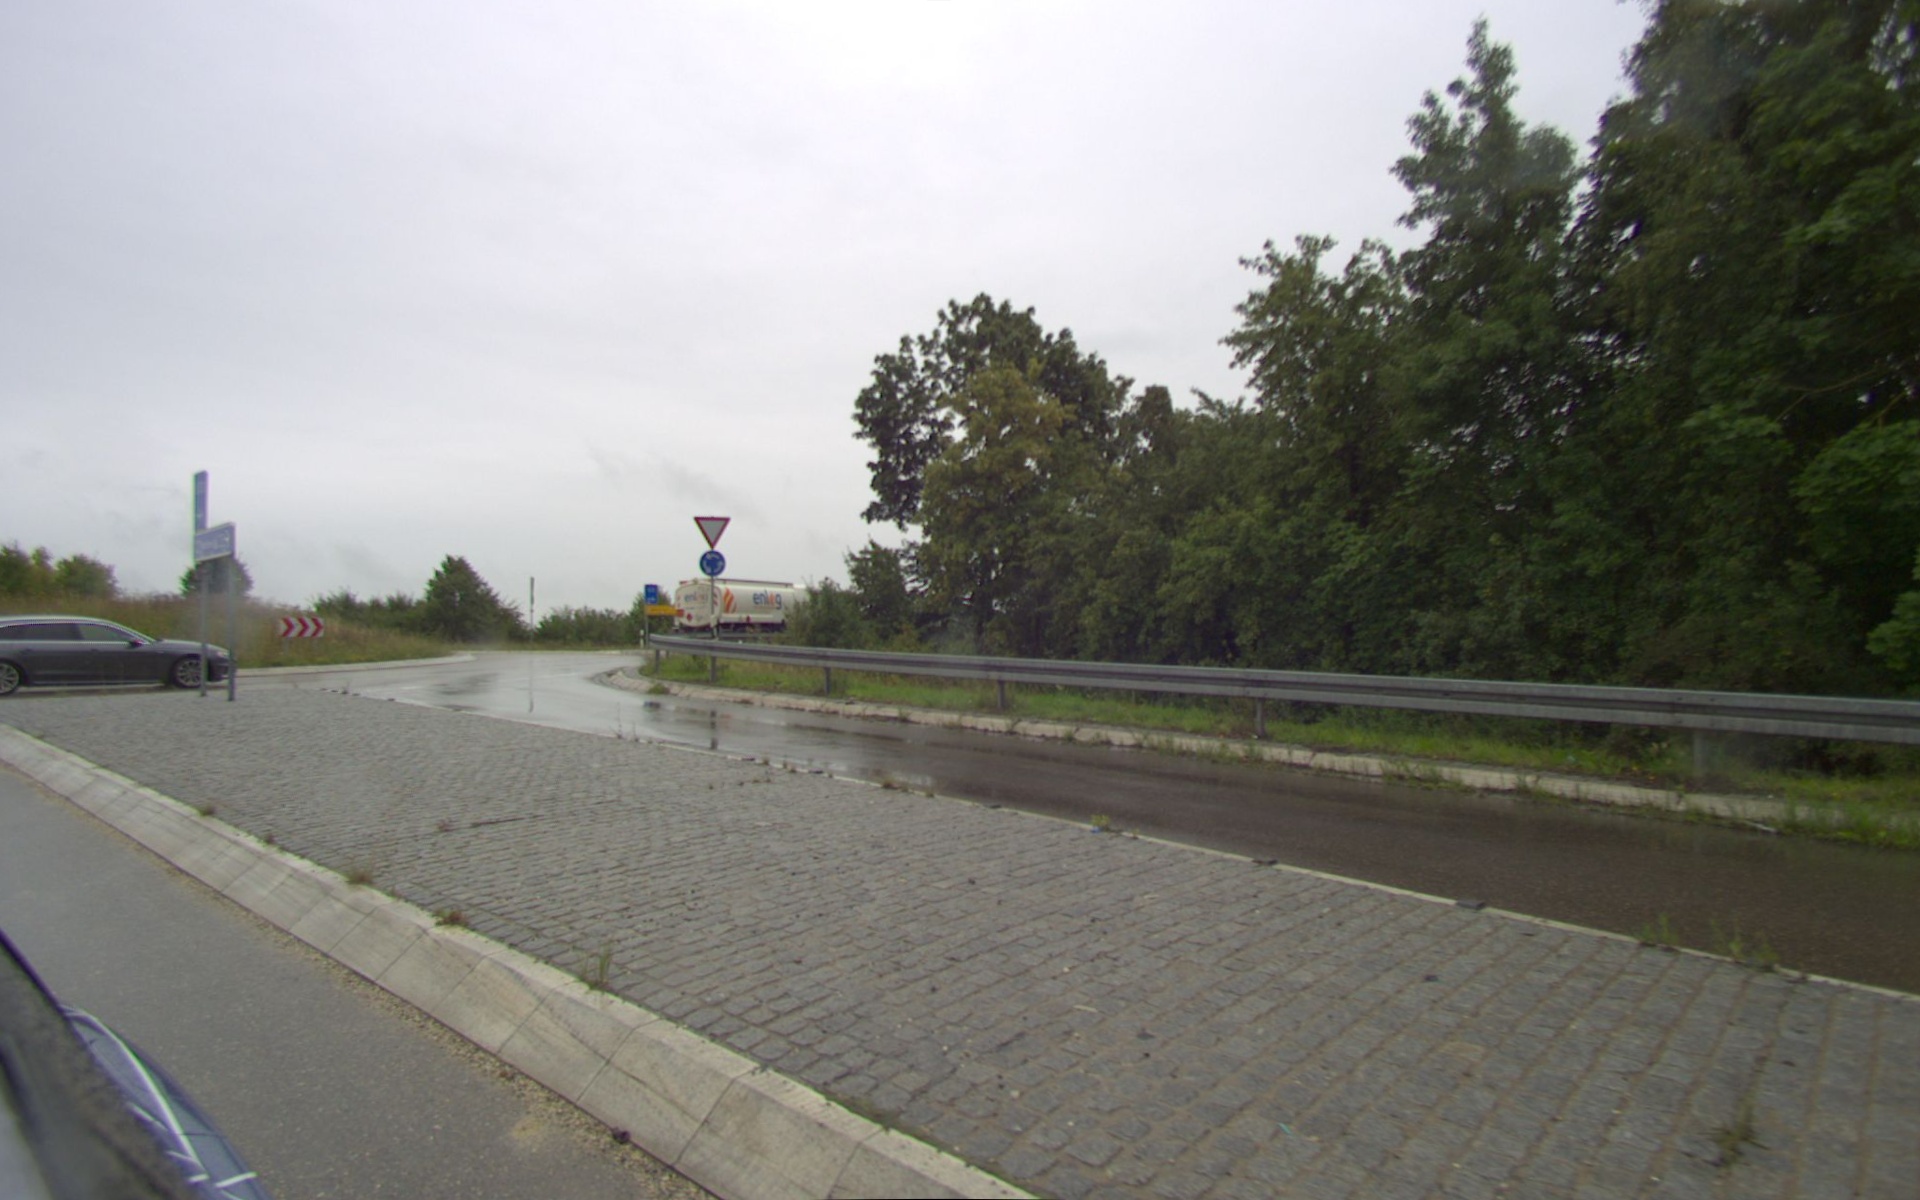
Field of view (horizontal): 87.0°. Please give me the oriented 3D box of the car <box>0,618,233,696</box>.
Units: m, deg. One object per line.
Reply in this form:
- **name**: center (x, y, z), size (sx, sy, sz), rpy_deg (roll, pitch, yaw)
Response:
- **car**: center (-16.812, 1.029, 19.316), size (1.911, 1.379, 4.499), rpy_deg (-1, -2, 44)

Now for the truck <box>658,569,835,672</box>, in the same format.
- **truck**: center (-8.871, 0.970, 43.416), size (3.029, 3.881, 8.755), rpy_deg (-3, -3, 22)
